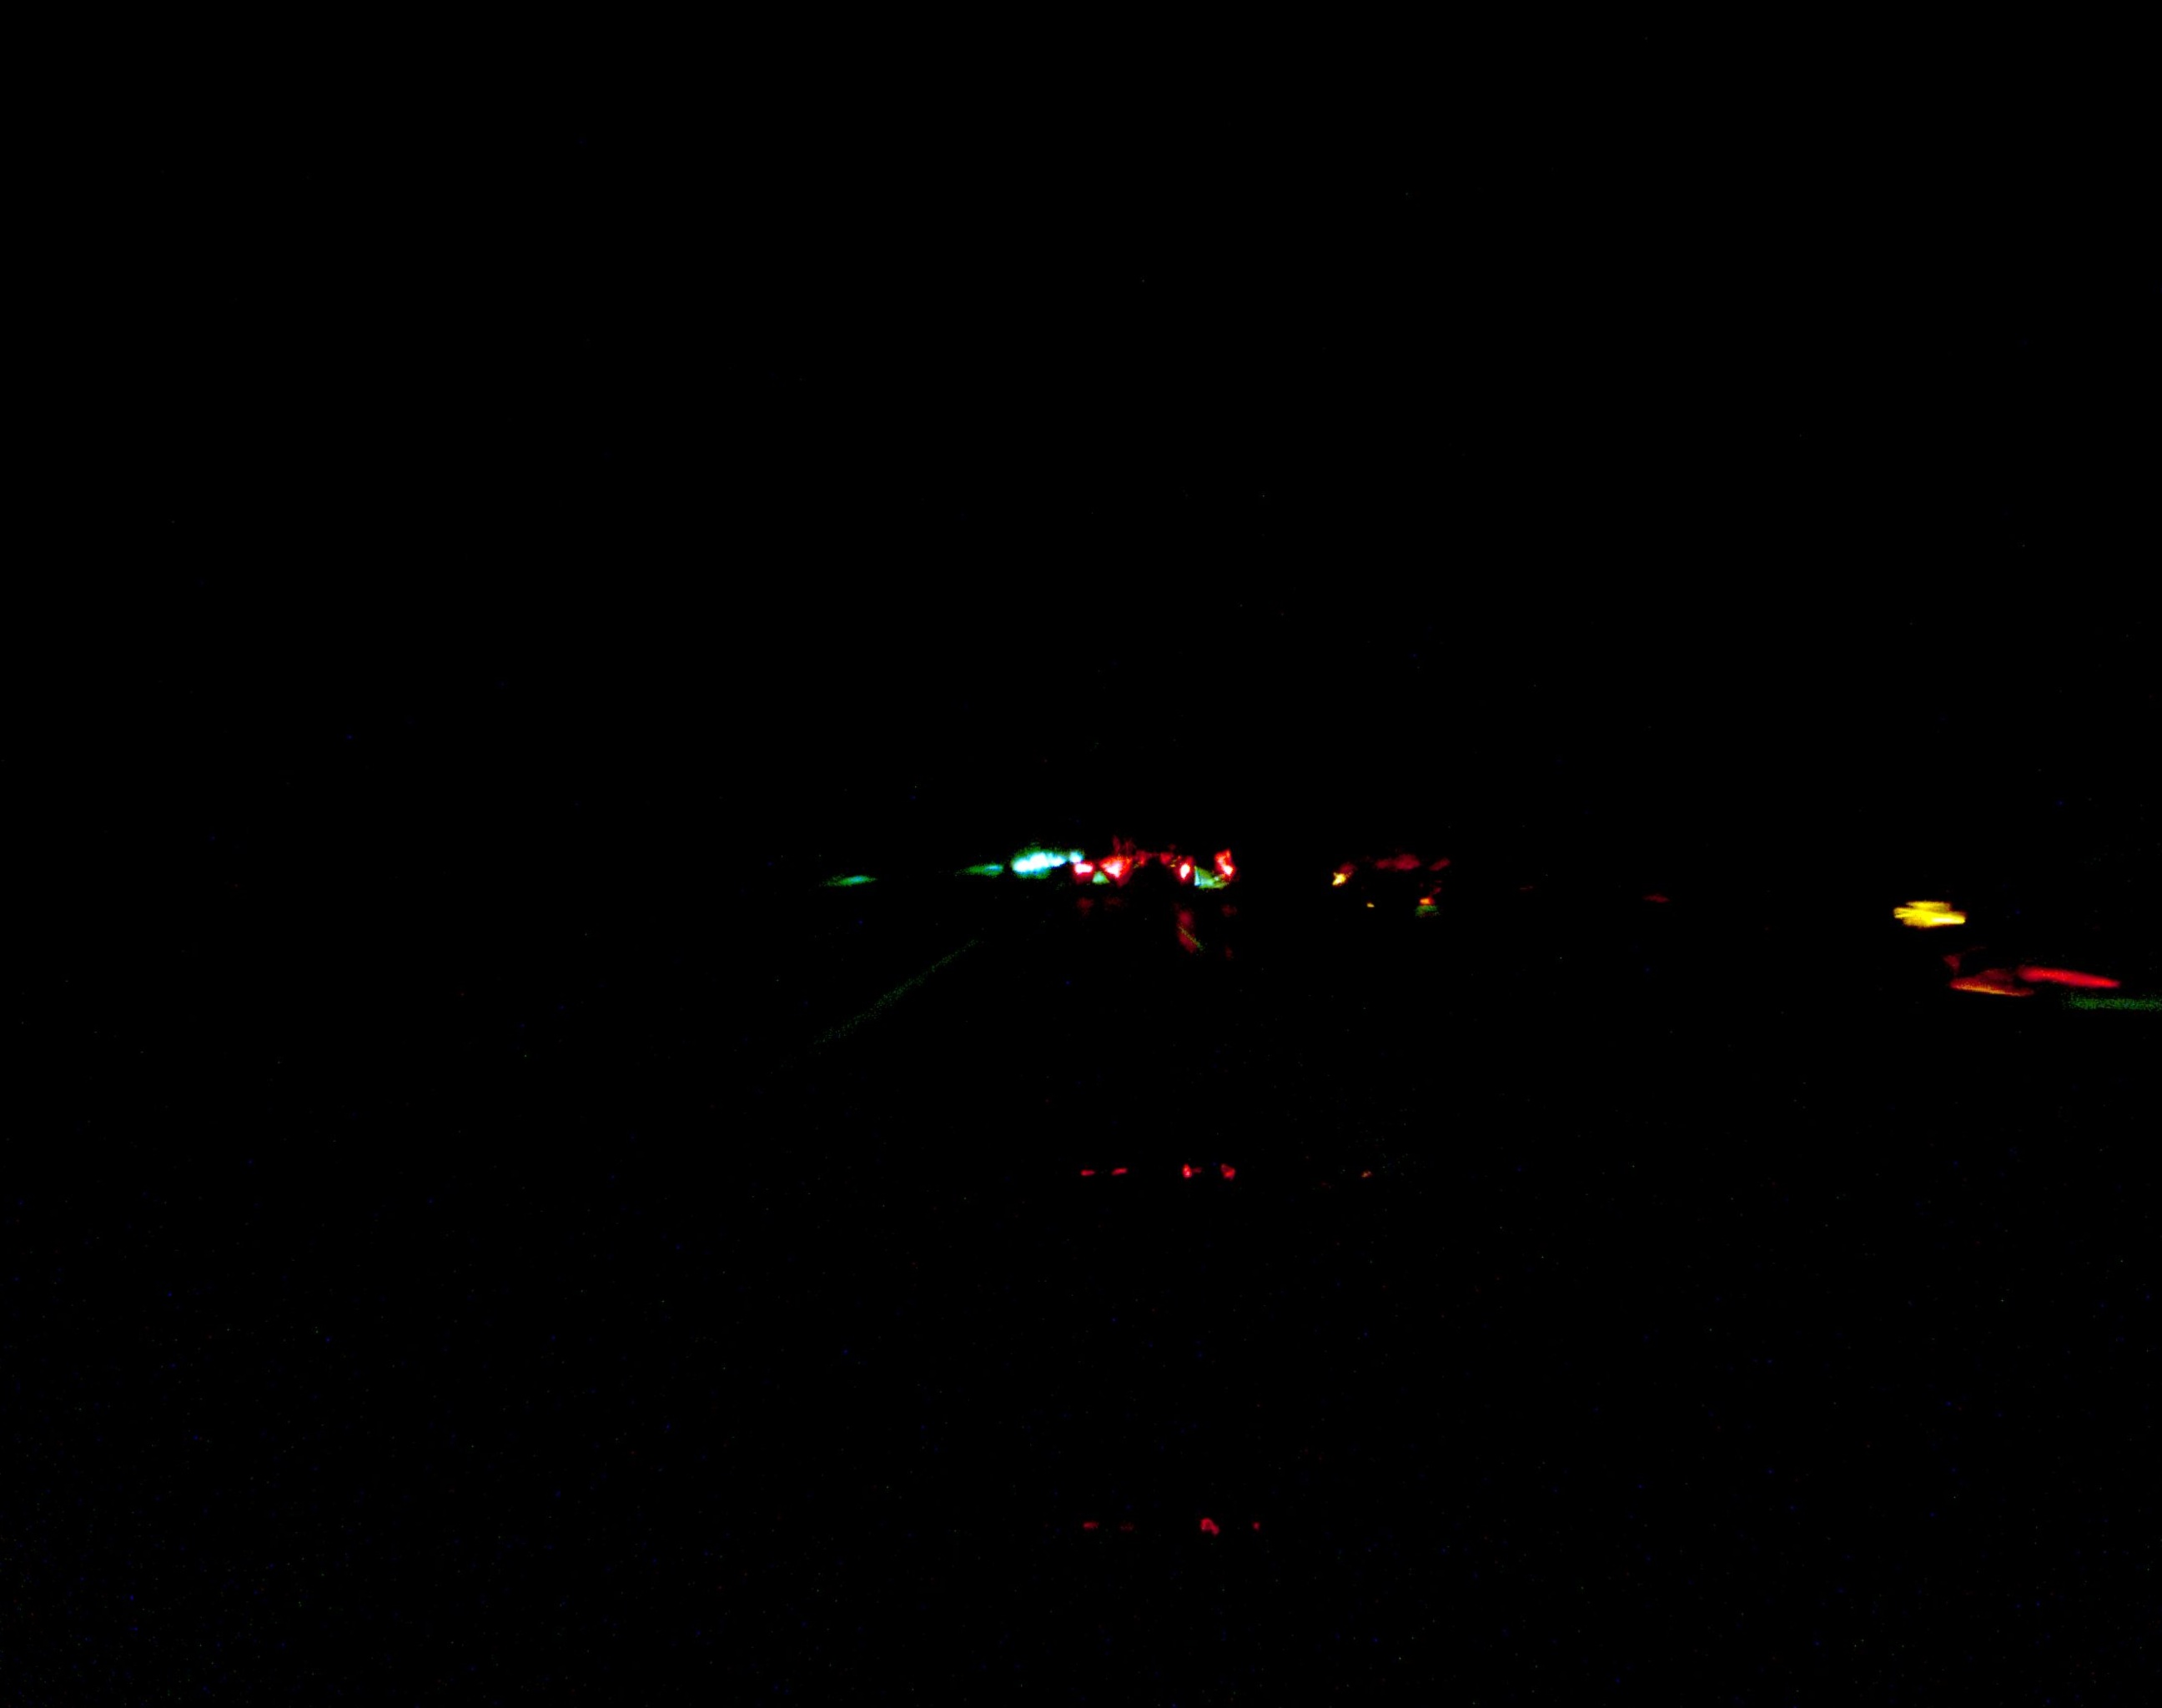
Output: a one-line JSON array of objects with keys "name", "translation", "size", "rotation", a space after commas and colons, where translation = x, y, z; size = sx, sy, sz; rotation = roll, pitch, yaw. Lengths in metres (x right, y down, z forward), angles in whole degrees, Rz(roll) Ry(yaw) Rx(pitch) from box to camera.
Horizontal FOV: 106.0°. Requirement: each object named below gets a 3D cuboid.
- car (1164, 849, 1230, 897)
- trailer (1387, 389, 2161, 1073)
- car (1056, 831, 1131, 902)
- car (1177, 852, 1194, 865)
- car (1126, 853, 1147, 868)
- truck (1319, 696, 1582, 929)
[{"name": "car", "translation": [4.061, 0.625, 29.111], "size": [1.877, 1.588, 4.001], "rotation": [-1, 0, 1]}, {"name": "trailer", "translation": [7.701, -0.771, 11.053], "size": [2.793, 4.212, 12.100], "rotation": [-1, 0, 1]}, {"name": "car", "translation": [0.474, 0.475, 33.724], "size": [2.701, 2.534, 5.830], "rotation": [-3, 0, 0]}, {"name": "car", "translation": [13.499, 0.557, 105.250], "size": [1.848, 1.618, 4.002], "rotation": [0, 0, 2]}, {"name": "car", "translation": [6.084, 0.730, 89.451], "size": [2.128, 1.618, 4.002], "rotation": [0, 0, 2]}, {"name": "truck", "translation": [7.916, -0.757, 18.782], "size": [2.793, 4.267, 7.450], "rotation": [-1, 0, 1]}]
